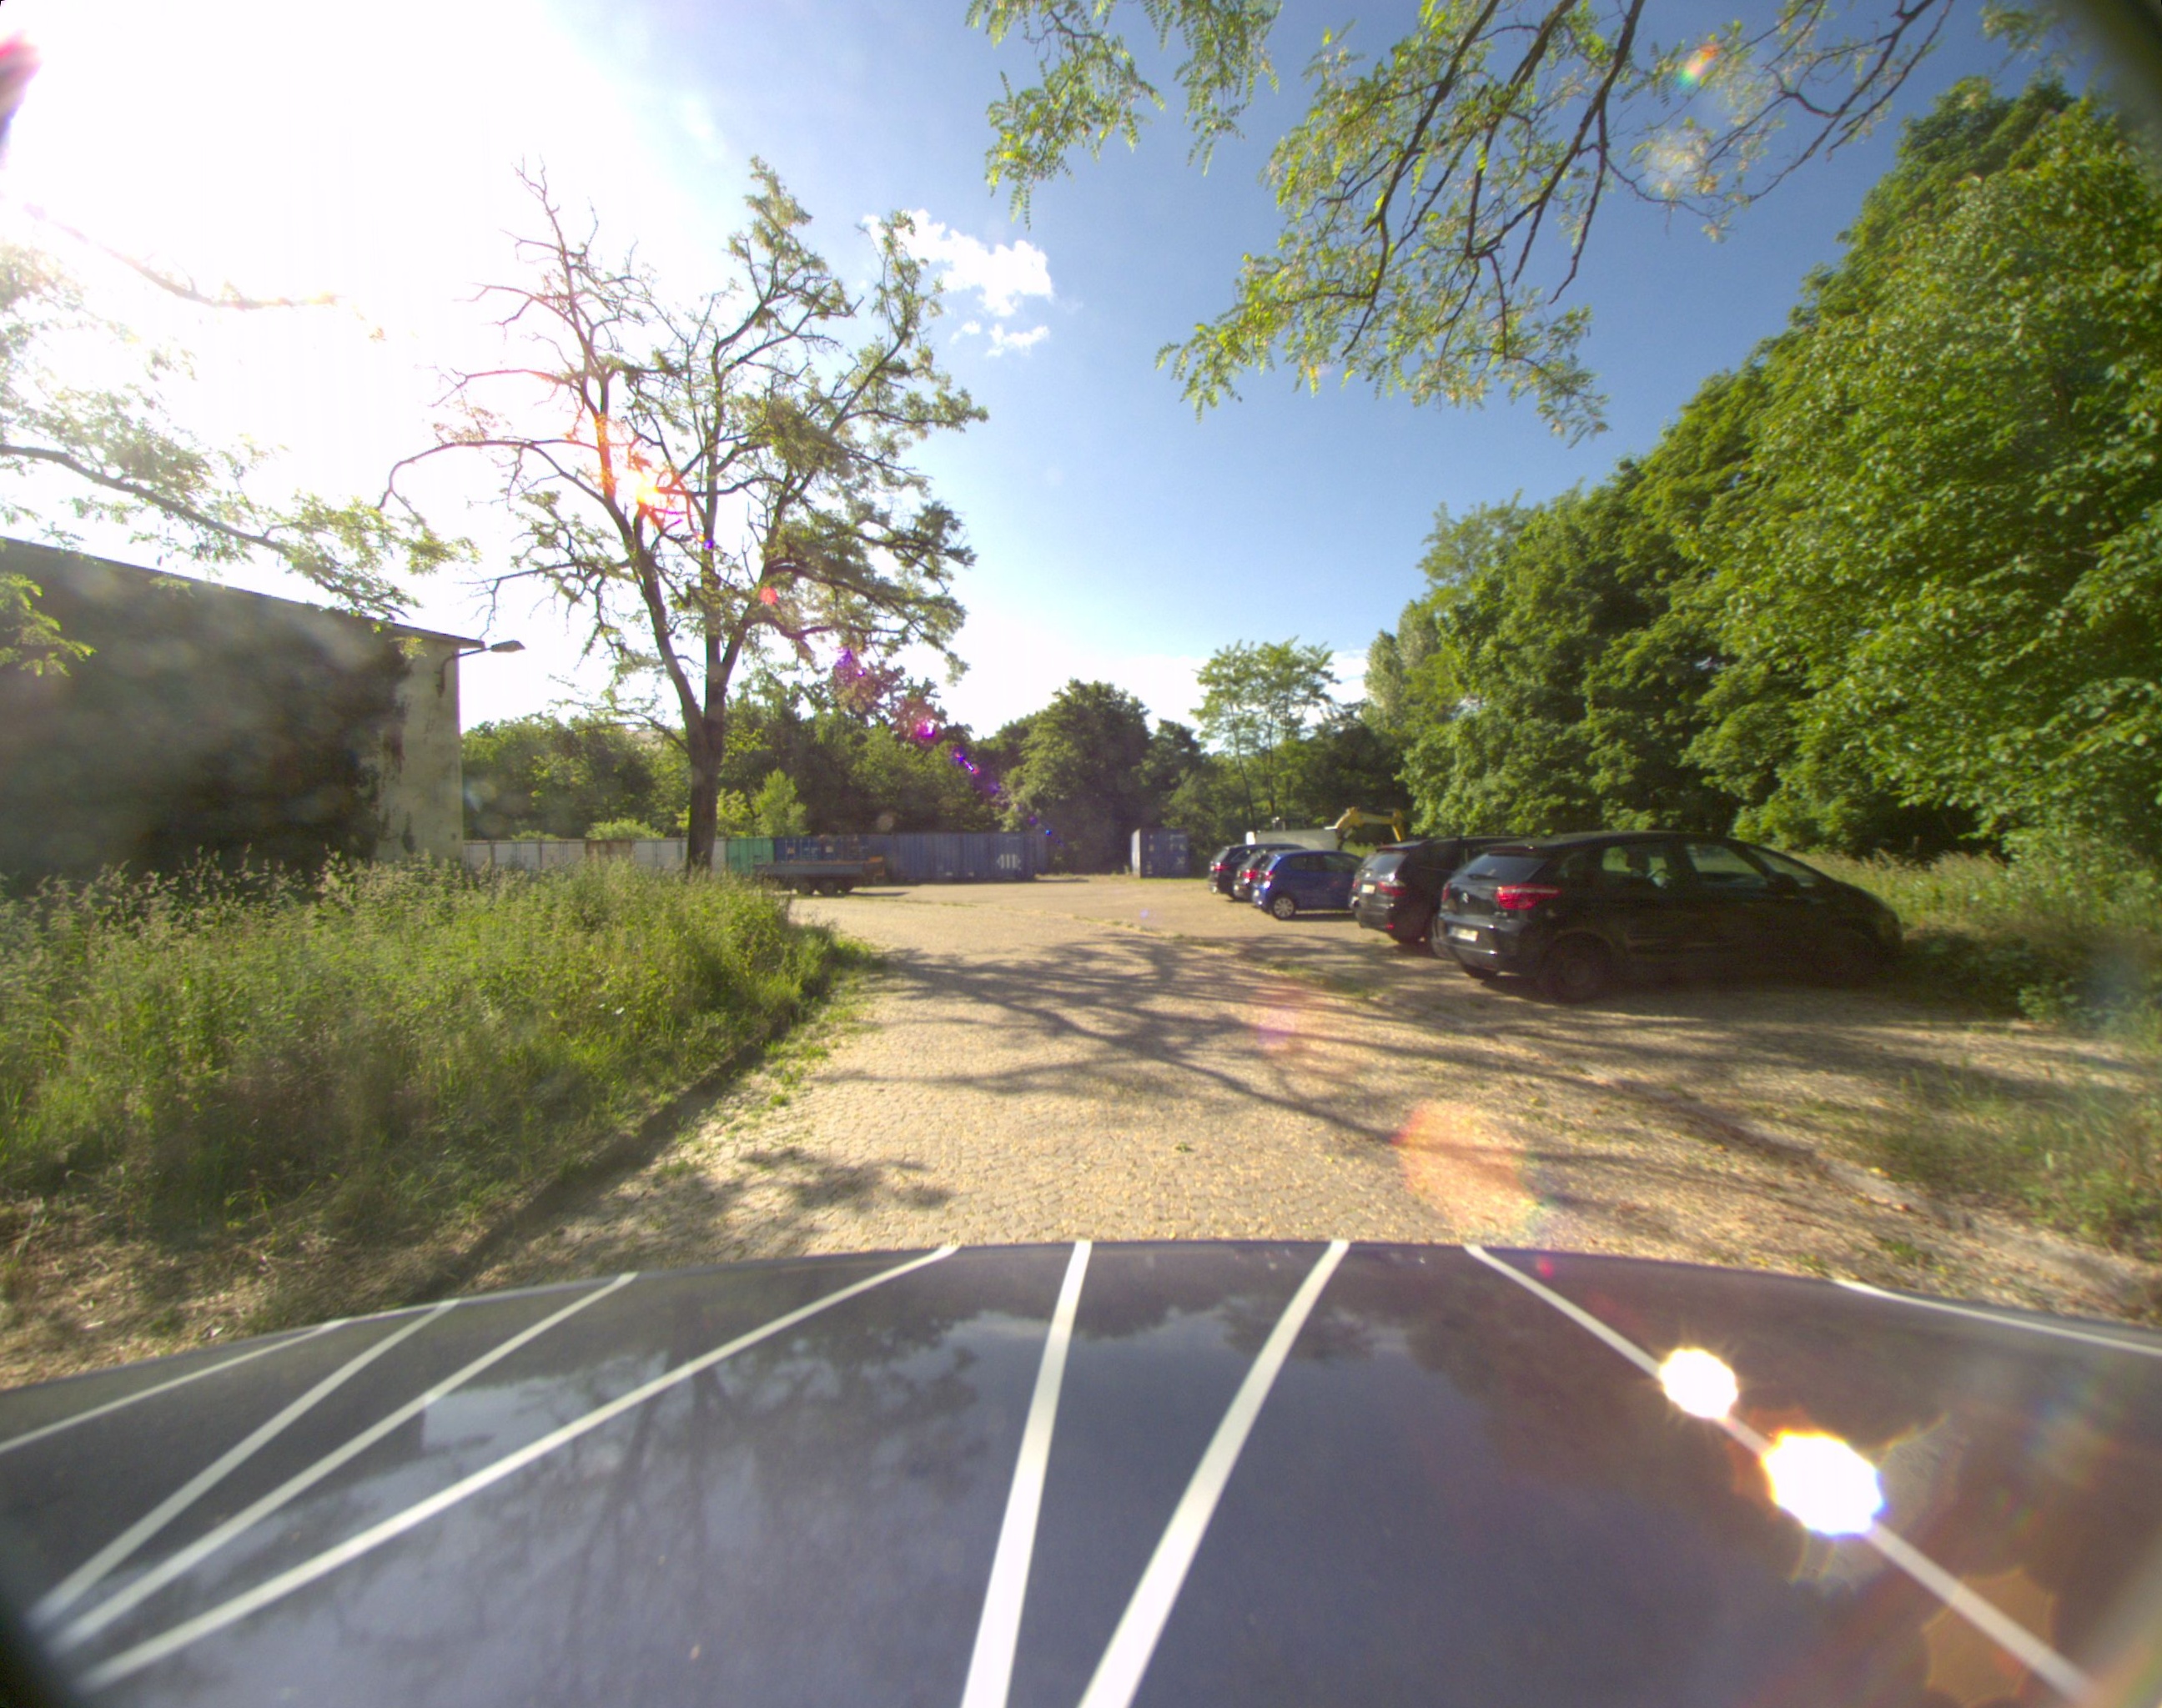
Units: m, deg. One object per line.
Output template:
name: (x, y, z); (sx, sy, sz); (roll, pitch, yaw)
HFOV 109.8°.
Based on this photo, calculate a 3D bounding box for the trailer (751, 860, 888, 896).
trailer: (-11.013, 0.987, 32.360); (4.857, 1.406, 2.649); (0, 1, 2)

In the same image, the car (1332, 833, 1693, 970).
car: (6.236, 0.630, 11.337); (4.270, 1.622, 1.880); (-3, 1, -1)

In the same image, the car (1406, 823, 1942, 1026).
car: (6.030, 0.663, 8.093); (4.271, 1.580, 1.829); (-4, 0, -3)

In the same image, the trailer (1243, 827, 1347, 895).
trailer: (6.864, 0.203, 24.600); (2.847, 2.039, 1.824); (-2, 1, 3)

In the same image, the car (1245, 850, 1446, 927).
car: (5.687, 0.721, 16.696); (3.786, 1.450, 1.786); (-2, 1, 3)

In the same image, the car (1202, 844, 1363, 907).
car: (5.703, 0.576, 21.889); (4.127, 1.581, 1.970); (-2, 1, 2)

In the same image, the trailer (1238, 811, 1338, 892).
trailer: (7.244, -0.109, 26.826); (2.847, 2.524, 2.266); (-4, 1, 4)

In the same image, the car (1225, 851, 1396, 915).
car: (5.728, 0.703, 19.335); (3.786, 1.403, 1.895); (-2, 1, 2)

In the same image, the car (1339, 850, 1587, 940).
car: (6.921, 0.727, 14.112); (3.720, 1.443, 1.745); (-2, 1, 7)
